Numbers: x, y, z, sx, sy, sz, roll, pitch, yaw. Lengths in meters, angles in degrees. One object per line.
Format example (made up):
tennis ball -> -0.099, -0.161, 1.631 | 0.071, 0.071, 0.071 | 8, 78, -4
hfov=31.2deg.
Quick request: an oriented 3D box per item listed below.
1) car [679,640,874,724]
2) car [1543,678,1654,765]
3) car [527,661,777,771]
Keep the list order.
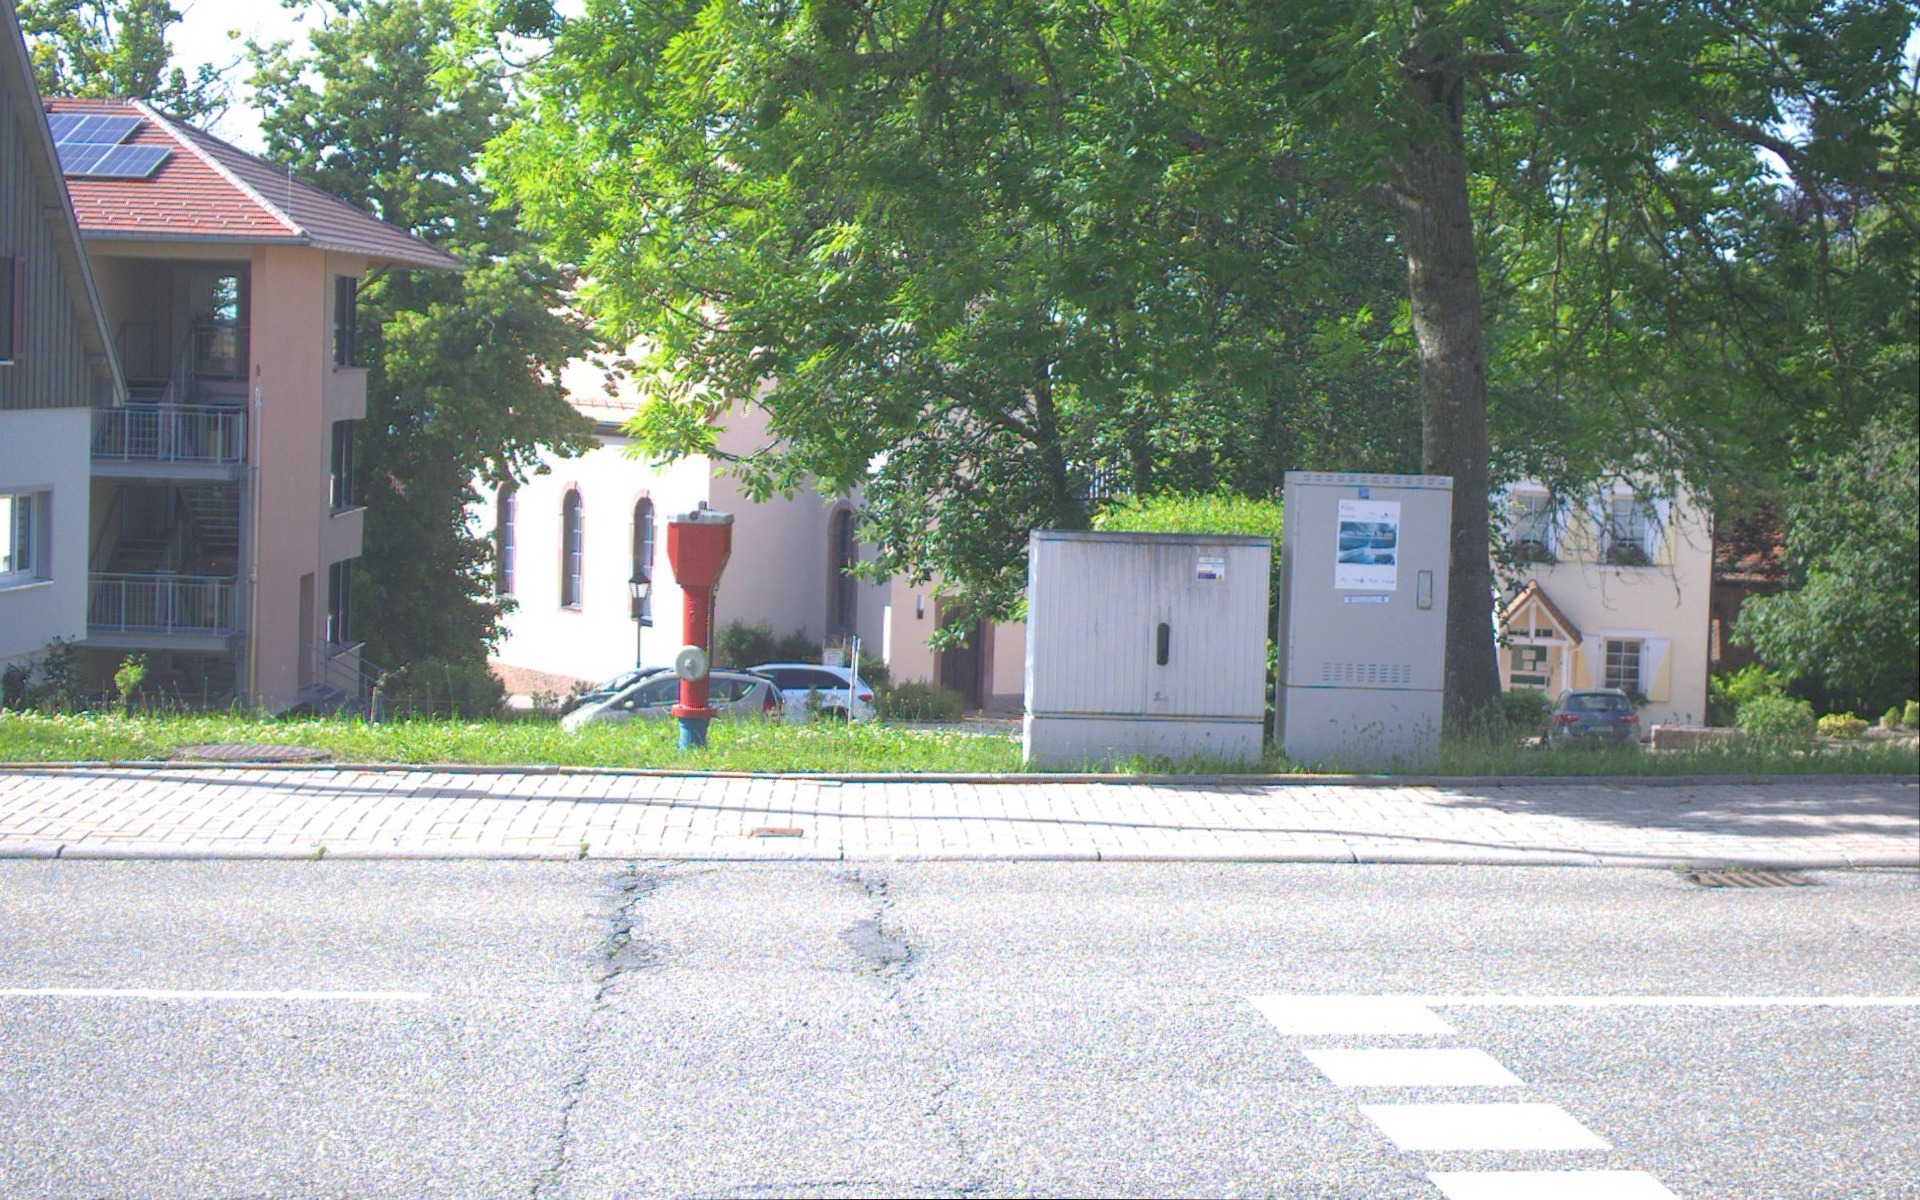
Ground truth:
car -> -3.677, 1.621, 68.497 | 3.772, 1.588, 1.714 | 1, 0, -6
car -> 12.586, 2.379, 67.920 | 1.708, 1.536, 3.785 | 0, 0, 4
car -> -5.156, 1.933, 57.651 | 4.089, 1.752, 1.714 | 1, 0, -5
